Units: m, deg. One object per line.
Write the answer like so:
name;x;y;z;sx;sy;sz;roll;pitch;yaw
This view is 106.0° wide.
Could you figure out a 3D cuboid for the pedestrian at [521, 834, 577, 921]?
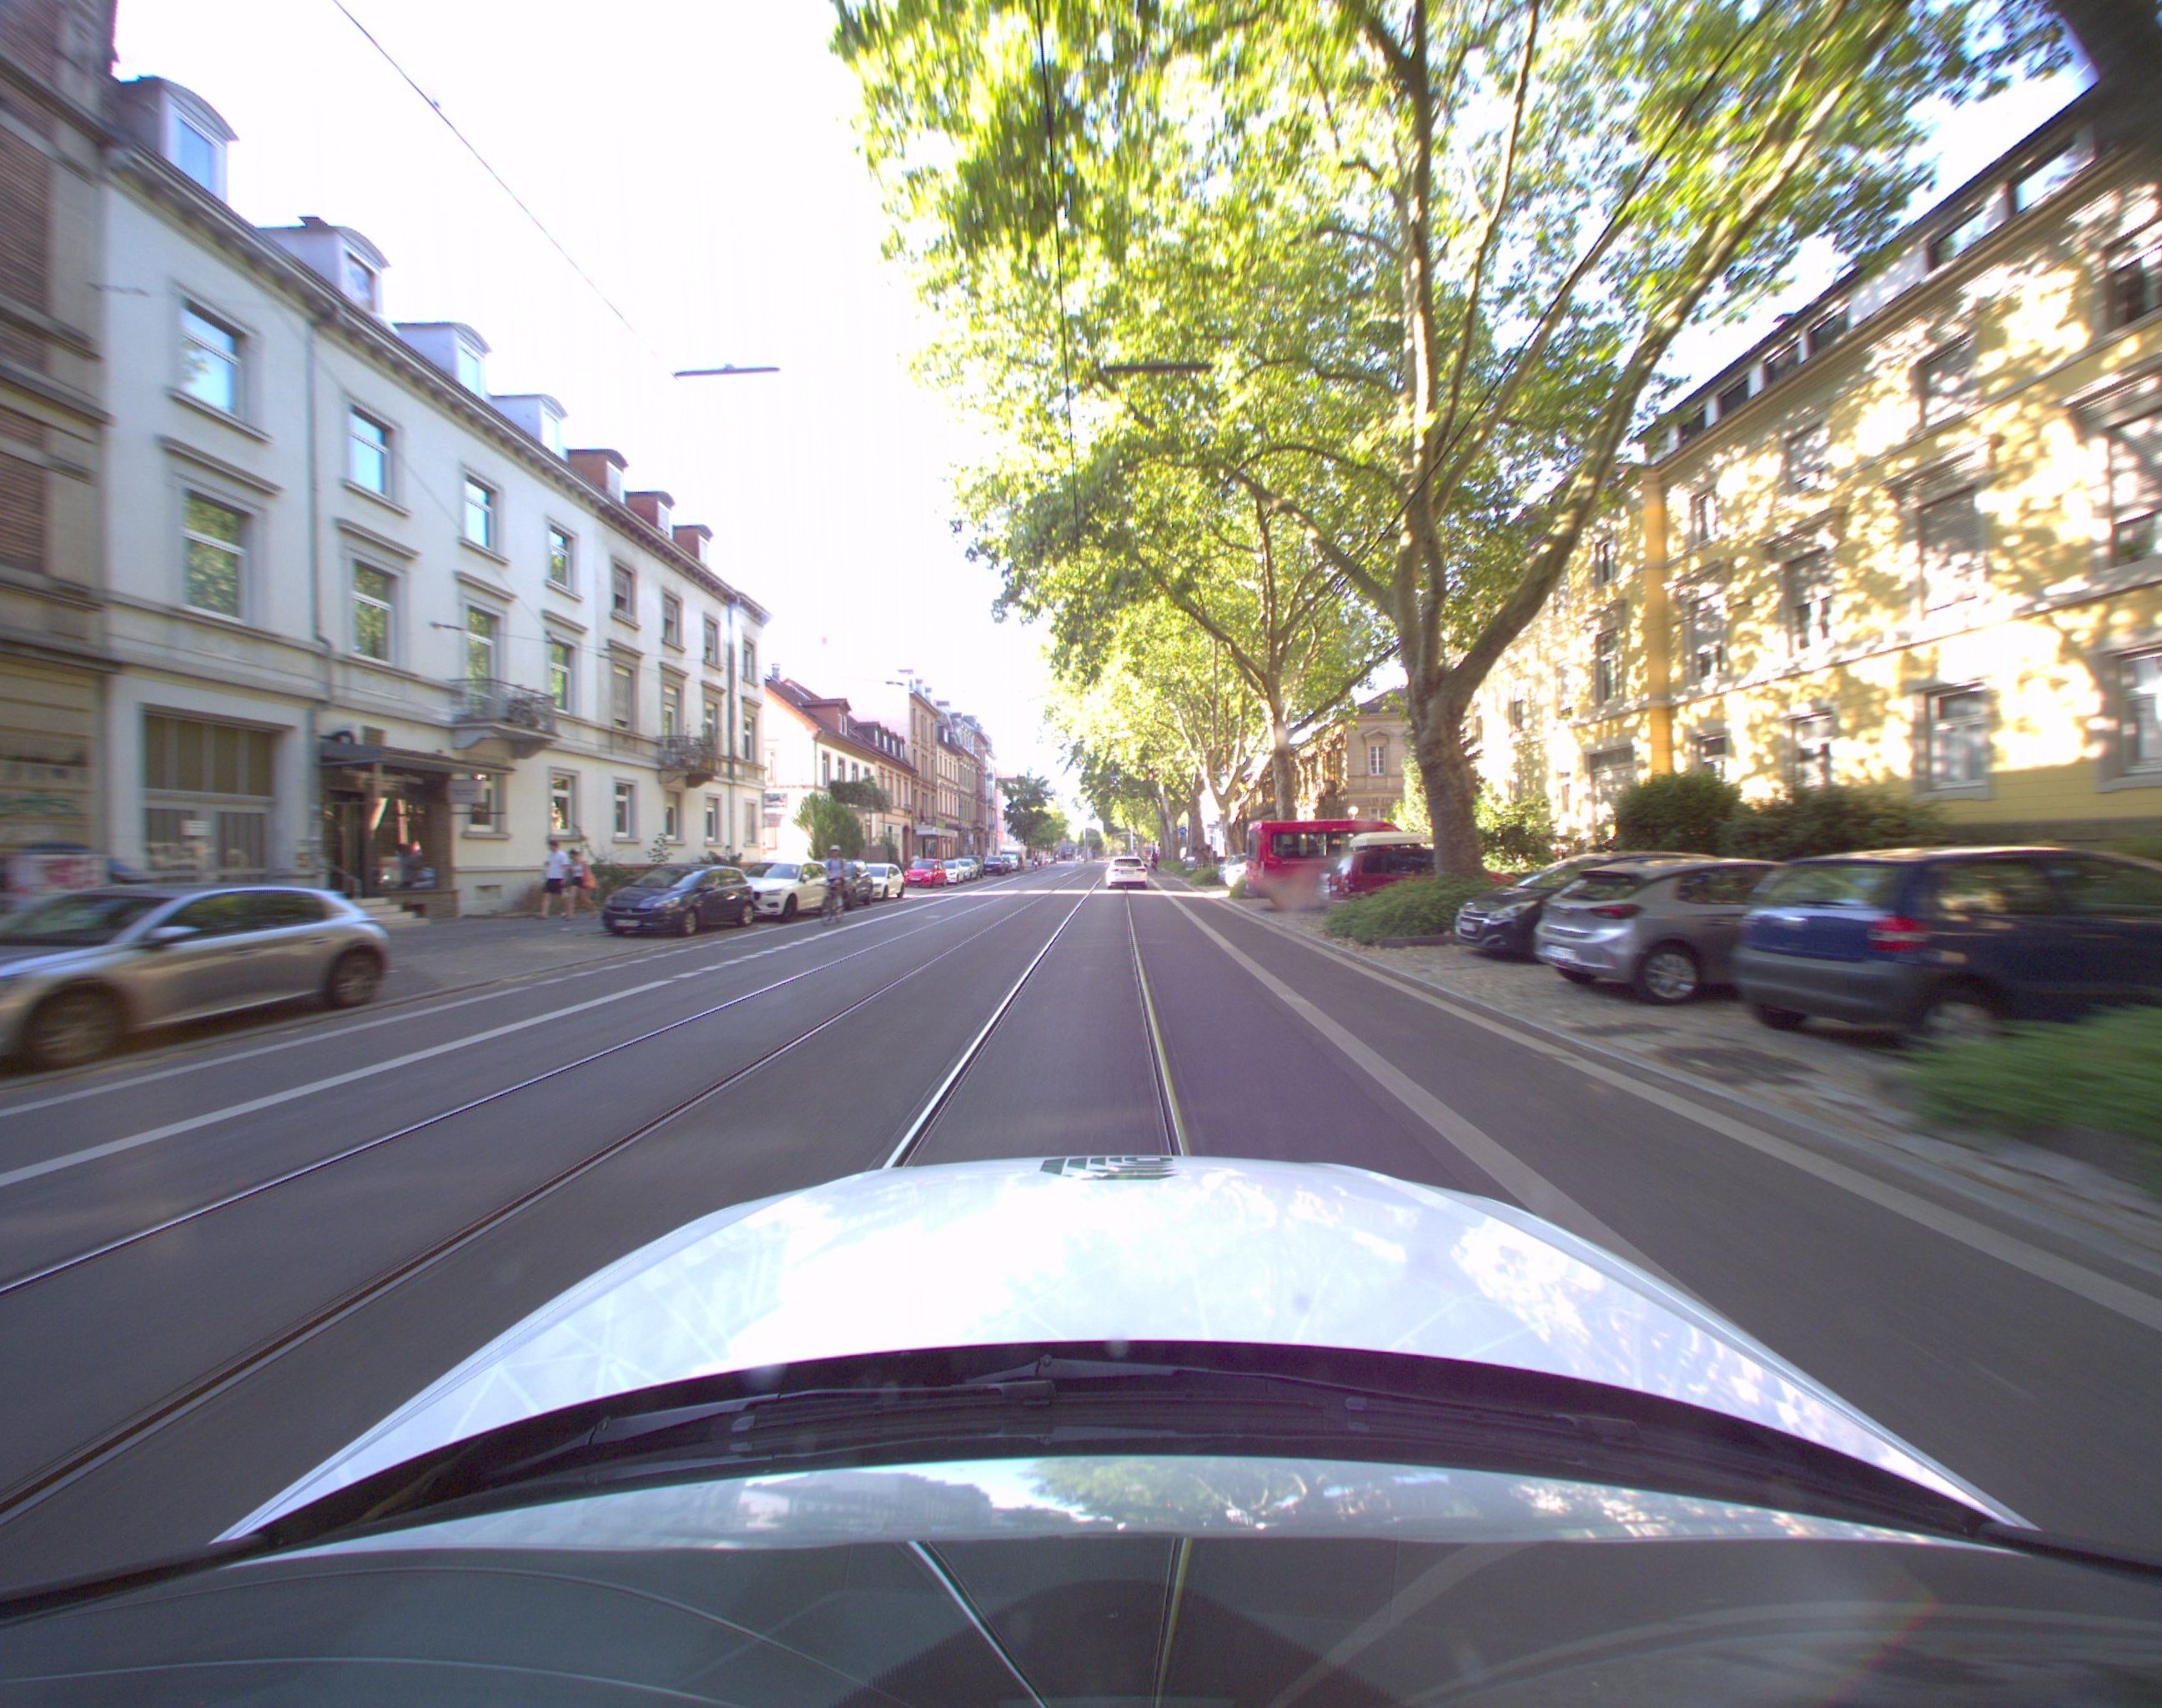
pedestrian;-12.655;0.544;19.386;0.757;2.013;0.830;-1;0;-1

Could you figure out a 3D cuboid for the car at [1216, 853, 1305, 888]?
car;8.144;0.733;37.181;3.737;1.508;1.682;1;0;2

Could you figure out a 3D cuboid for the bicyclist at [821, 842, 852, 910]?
bicyclist;-6.073;0.531;20.224;0.471;1.636;0.800;-1;0;2

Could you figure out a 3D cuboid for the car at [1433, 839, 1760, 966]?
car;7.400;0.658;11.966;3.657;1.523;1.694;-3;0;1

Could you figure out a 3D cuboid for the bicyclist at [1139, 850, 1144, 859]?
bicyclist;10.619;0.085;142.045;0.731;1.589;0.589;-1;0;14

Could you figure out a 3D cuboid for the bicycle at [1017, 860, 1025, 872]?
bicycle;-5.801;1.171;79.146;0.482;1.047;2.041;-3;0;3

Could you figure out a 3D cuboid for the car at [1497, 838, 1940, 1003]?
car;6.896;0.679;9.117;3.582;1.517;1.694;-3;0;1

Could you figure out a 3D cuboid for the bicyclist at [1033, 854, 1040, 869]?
bicyclist;-4.562;0.733;83.670;0.635;1.503;1.070;-2;-1;3

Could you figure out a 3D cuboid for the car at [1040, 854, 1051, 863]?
car;-6.642;0.832;152.409;1.788;1.726;3.784;0;0;0

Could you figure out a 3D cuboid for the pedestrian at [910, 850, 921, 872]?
pedestrian;-12.619;0.554;62.058;0.773;1.634;0.654;0;-1;-14

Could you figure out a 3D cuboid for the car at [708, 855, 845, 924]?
car;-8.425;0.905;23.067;1.849;1.703;4.766;-1;0;3

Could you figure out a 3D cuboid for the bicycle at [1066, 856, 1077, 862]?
bicycle;-2.249;1.221;195.977;2.699;1.327;0.609;-1;0;-33

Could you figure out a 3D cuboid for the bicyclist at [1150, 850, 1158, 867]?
bicyclist;5.811;0.391;64.834;0.676;1.339;0.525;0;-1;1

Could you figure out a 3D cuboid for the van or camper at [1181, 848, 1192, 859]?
van or camper;21.889;-0.092;168.635;1.986;2.343;4.002;0;0;2

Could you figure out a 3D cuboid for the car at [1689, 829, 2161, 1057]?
car;7.352;0.642;6.644;3.581;1.599;1.541;-1;-1;1

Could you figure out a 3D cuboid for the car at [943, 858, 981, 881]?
car;-7.973;1.001;54.718;1.821;1.502;4.450;0;0;1

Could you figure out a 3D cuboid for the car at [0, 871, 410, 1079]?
car;-9.101;0.962;7.999;1.657;1.521;4.063;0;0;-1

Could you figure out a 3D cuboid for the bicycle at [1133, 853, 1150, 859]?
bicycle;10.572;0.391;142.064;2.749;0.999;0.595;0;-1;16

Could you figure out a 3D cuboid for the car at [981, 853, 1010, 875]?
car;-7.439;0.843;71.126;1.958;1.781;4.937;2;0;0

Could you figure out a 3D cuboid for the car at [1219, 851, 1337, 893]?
car;7.701;0.680;32.118;4.268;1.417;1.761;-3;0;3

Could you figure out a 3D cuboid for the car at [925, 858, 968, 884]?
car;-8.065;0.987;49.300;1.821;1.502;4.687;0;0;0

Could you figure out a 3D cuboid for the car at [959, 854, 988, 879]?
car;-7.732;0.867;59.086;1.550;1.732;3.686;0;0;1

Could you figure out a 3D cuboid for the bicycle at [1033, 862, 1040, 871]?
bicycle;-4.547;1.280;83.525;0.496;0.943;1.923;-3;0;3

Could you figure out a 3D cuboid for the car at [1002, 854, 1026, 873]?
car;-6.369;0.850;77.978;1.958;1.781;4.470;0;0;0

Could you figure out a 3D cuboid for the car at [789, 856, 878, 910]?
car;-8.489;0.931;28.354;1.853;1.703;4.653;-1;0;-3

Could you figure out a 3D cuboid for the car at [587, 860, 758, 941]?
car;-8.826;0.935;18.003;1.547;1.515;3.928;-1;0;4

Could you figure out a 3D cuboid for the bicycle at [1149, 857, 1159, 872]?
bicycle;5.815;0.793;64.850;0.677;1.155;2.965;0;0;2

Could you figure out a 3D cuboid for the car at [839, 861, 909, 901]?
car;-8.464;1.066;33.720;1.680;1.477;4.259;0;0;2

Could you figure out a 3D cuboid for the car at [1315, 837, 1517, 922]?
car;7.515;0.572;18.507;3.808;1.649;1.766;-3;-1;-2

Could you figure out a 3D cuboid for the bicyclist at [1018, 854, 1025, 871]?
bicyclist;-5.810;0.803;79.285;0.533;1.634;0.897;-3;-1;3

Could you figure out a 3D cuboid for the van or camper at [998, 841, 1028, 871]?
van or camper;-7.389;0.172;88.980;2.207;3.140;7.120;0;0;3

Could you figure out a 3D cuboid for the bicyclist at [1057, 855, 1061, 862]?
bicyclist;-5.173;1.124;194.244;0.635;1.522;0.604;-2;1;-33

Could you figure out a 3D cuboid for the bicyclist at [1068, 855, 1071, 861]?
bicyclist;-2.748;0.955;195.643;0.635;1.522;0.604;-2;1;-33

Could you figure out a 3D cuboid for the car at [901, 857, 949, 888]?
car;-8.375;0.987;43.906;1.561;1.562;3.454;-1;0;6

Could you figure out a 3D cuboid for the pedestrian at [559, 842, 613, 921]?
pedestrian;-11.759;0.632;19.367;0.757;1.821;0.829;-1;0;-2

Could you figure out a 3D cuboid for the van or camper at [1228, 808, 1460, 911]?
van or camper;7.351;0.131;23.218;5.797;2.519;2.287;-3;1;-1

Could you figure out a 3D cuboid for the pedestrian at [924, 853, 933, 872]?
pedestrian;-11.677;0.670;62.384;0.636;1.460;0.654;0;-1;-15

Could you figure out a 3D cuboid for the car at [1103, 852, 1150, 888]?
car;1.935;0.687;35.909;1.837;1.480;3.837;0;0;0

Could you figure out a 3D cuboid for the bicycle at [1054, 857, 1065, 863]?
bicycle;-5.139;1.397;194.255;2.699;1.327;0.609;-1;0;-33

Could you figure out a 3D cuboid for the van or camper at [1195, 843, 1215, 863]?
van or camper;15.675;-0.087;103.199;2.018;2.464;5.113;0;0;4

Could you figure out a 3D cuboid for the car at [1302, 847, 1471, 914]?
car;7.842;0.660;21.129;3.723;1.530;1.668;-2;0;-2

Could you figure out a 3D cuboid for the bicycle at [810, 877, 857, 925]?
bicycle;-6.074;1.129;20.057;0.479;1.086;1.847;-1;0;3
